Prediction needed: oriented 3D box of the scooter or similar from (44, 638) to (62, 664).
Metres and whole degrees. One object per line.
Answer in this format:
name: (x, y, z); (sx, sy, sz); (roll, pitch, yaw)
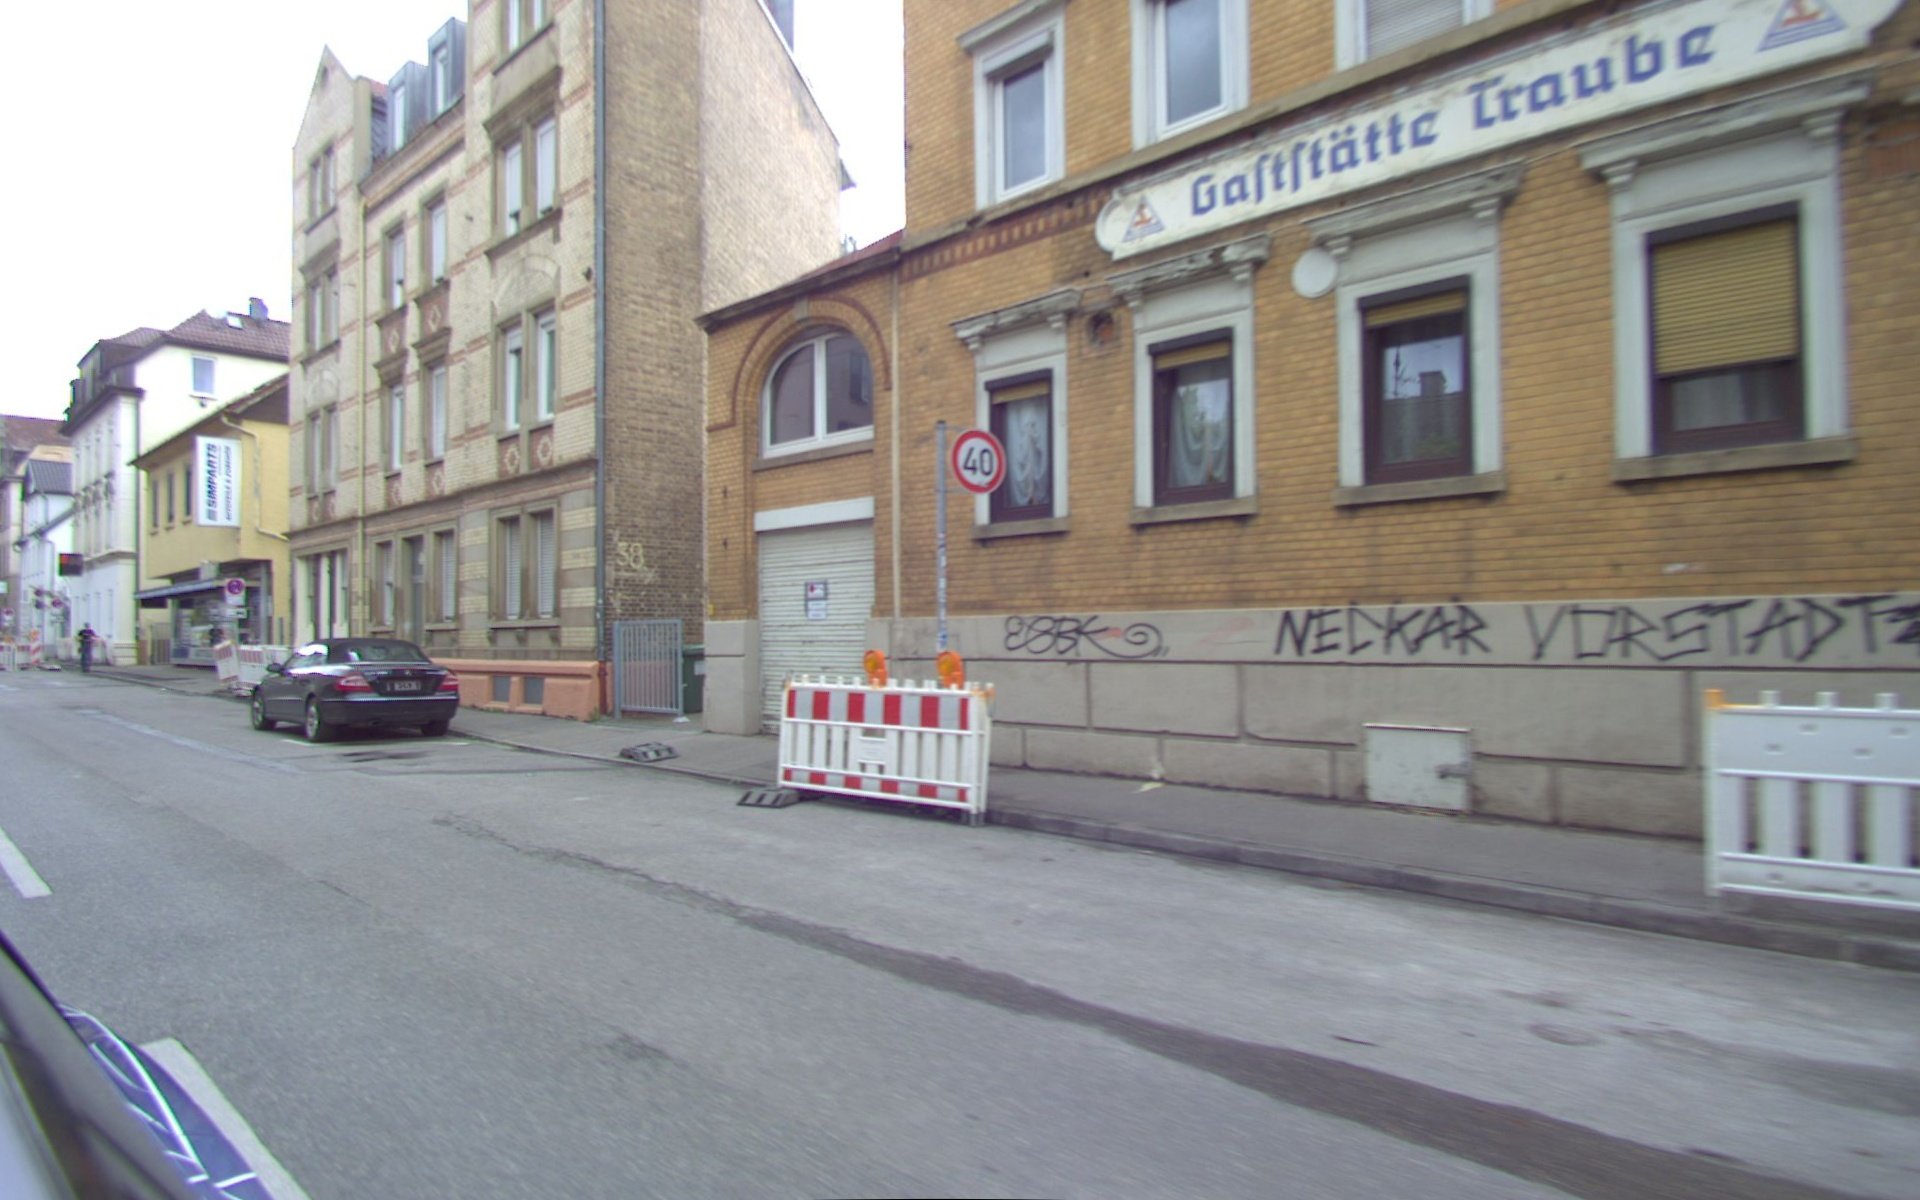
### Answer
scooter or similar: (-47.087, 2.644, 52.552); (1.227, 1.300, 0.554); (-1, -1, 41)

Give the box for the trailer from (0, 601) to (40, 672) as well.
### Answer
trailer: (-40.659, 1.510, 42.520); (6.303, 2.825, 2.418); (-2, -3, 43)

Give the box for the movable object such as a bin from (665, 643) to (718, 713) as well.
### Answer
movable object such as a bin: (-4.257, 1.215, 16.020); (0.667, 1.057, 0.498); (-2, 0, 41)

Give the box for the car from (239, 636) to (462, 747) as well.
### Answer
car: (-8.985, 1.235, 14.775); (4.353, 1.393, 1.562); (-2, -3, 42)

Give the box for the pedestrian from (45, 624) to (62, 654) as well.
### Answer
pedestrian: (-47.066, 2.019, 52.529); (0.607, 1.578, 0.594); (-1, -1, 41)

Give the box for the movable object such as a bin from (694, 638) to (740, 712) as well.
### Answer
movable object such as a bin: (-3.938, 1.201, 16.382); (0.515, 1.148, 0.508); (-2, -2, 27)
